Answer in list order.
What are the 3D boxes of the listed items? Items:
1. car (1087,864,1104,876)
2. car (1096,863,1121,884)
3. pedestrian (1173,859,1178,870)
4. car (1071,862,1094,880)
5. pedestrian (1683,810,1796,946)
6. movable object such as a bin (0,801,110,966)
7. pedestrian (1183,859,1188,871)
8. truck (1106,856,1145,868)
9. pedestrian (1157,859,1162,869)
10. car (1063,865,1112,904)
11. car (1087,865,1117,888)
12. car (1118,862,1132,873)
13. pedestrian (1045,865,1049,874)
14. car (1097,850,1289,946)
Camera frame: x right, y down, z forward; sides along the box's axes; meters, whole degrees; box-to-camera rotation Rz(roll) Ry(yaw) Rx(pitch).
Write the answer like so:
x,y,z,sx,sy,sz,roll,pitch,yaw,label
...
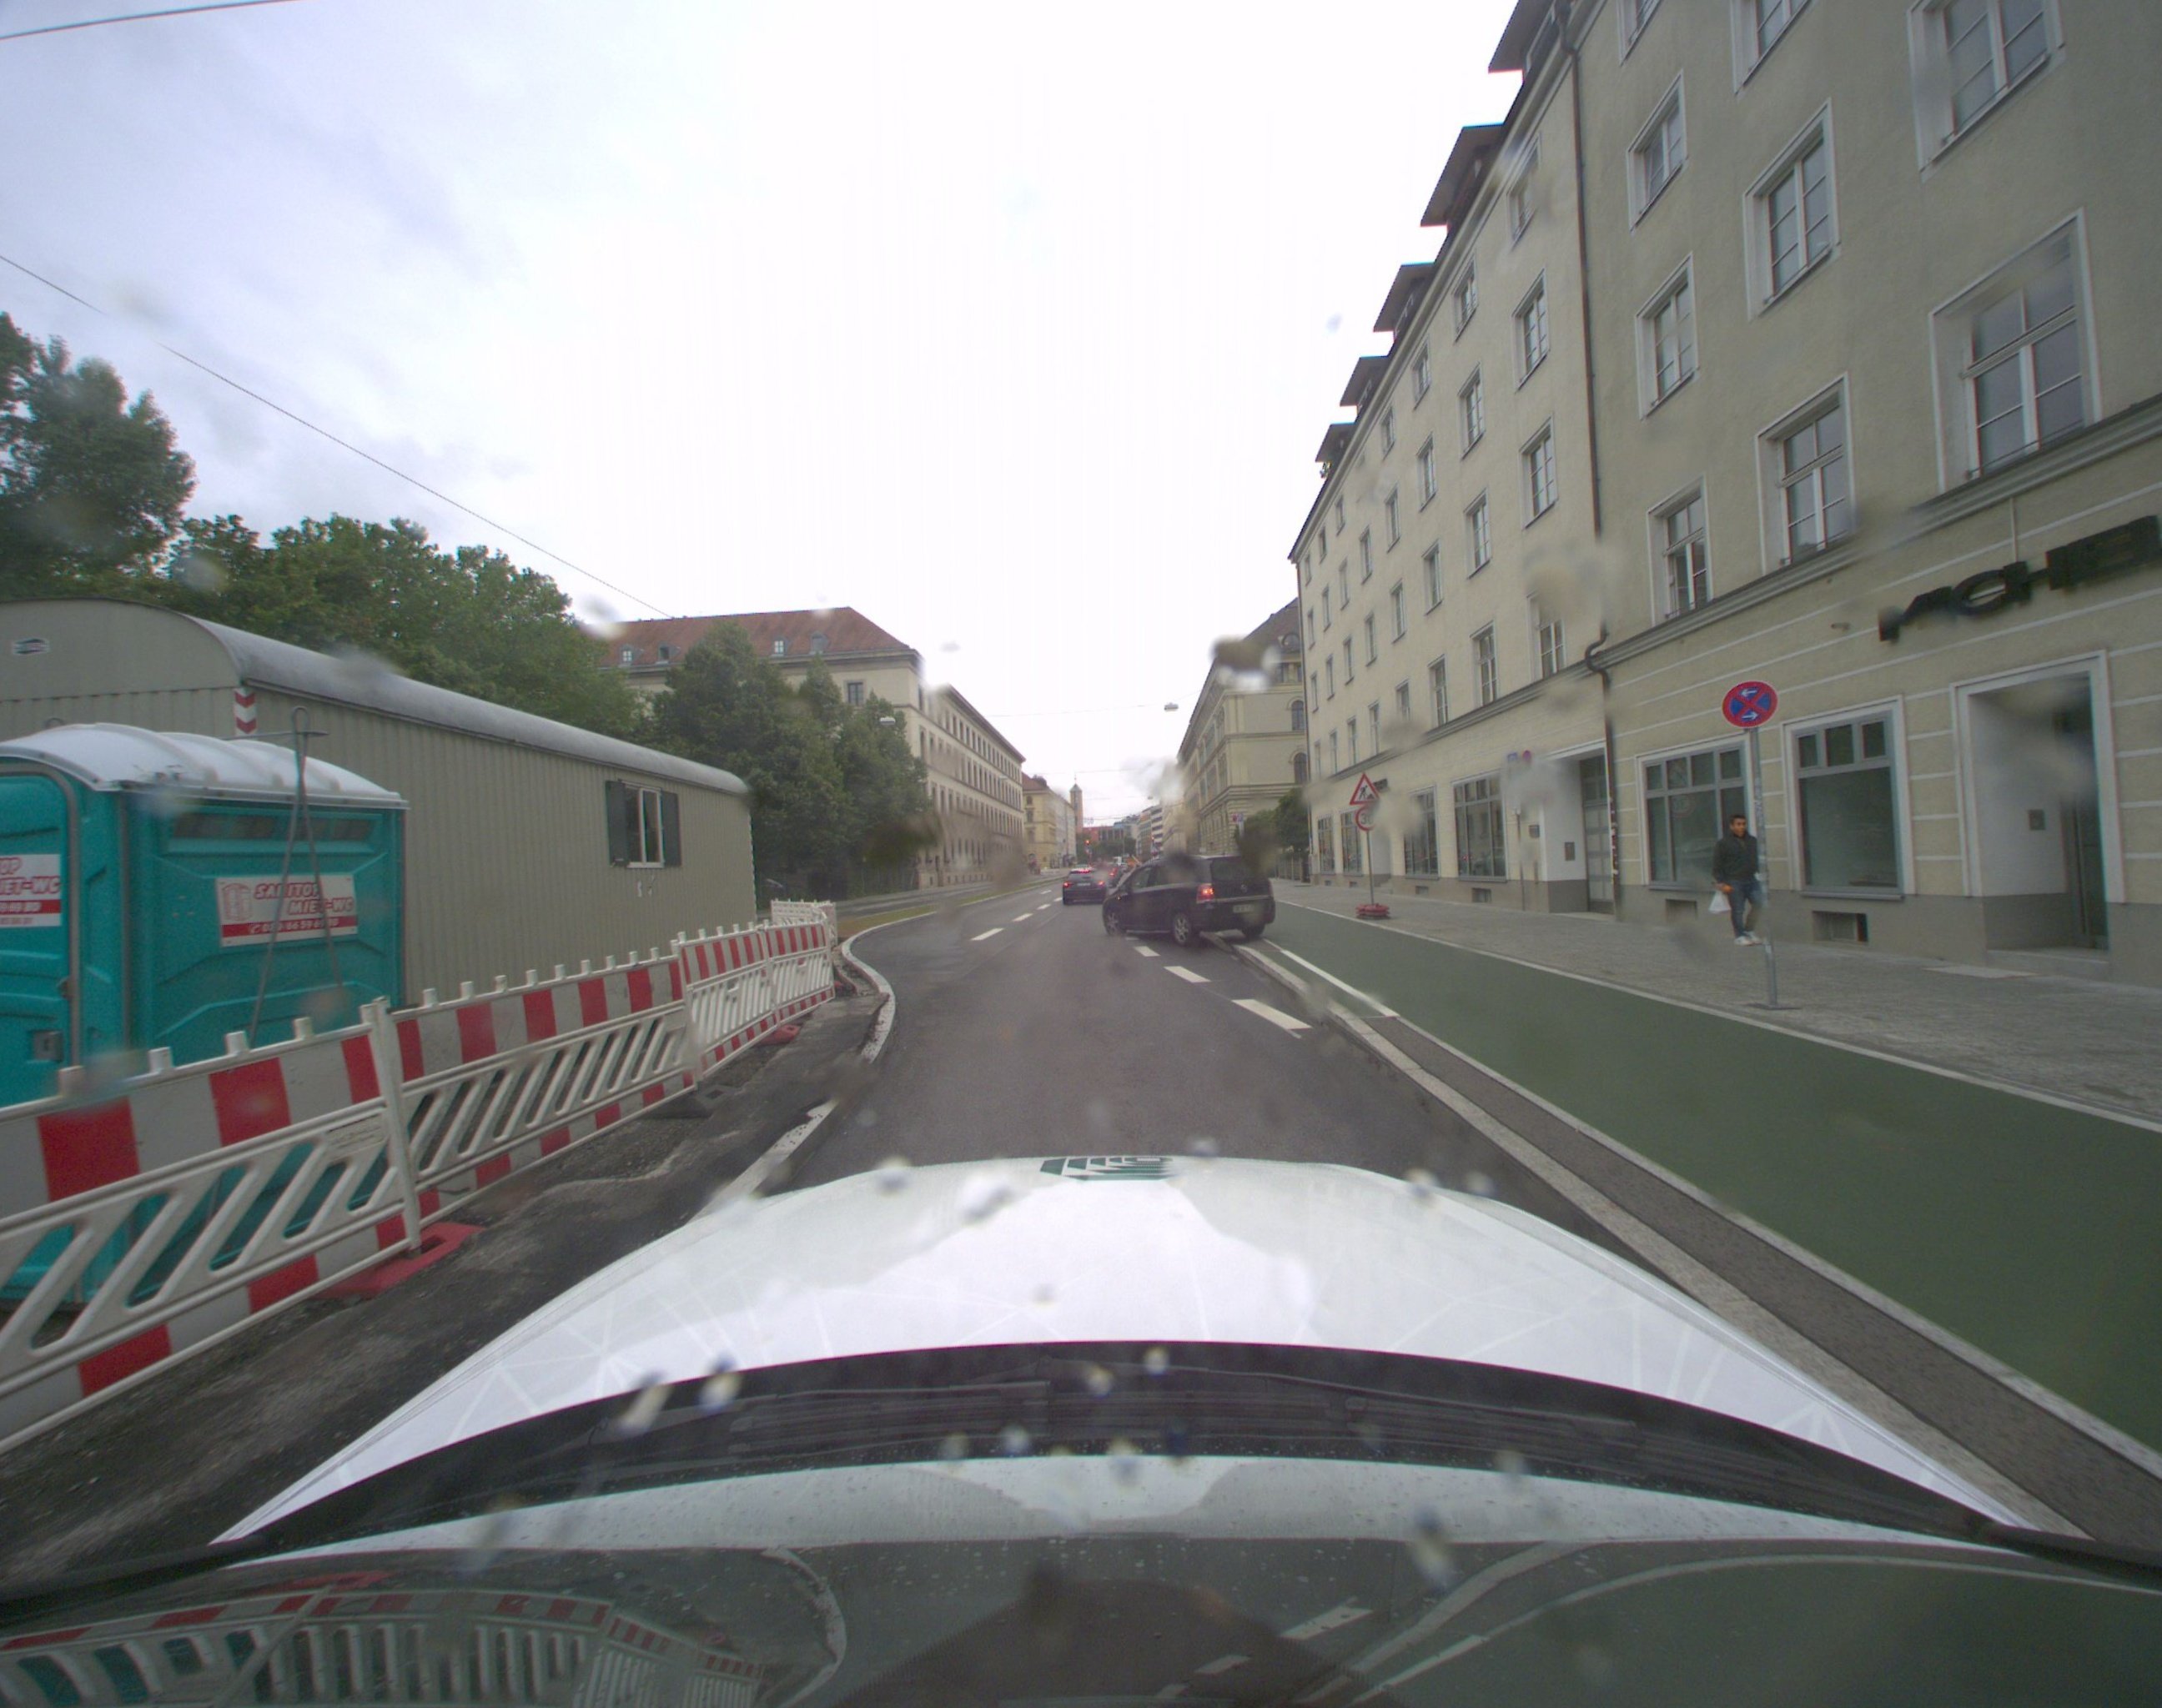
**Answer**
x,y,z,sx,sy,sz,roll,pitch,yaw,label
1.991,2.055,107.838,1.985,1.444,4.004,-3,-1,4,car
2.078,1.402,60.359,1.722,1.461,4.004,-1,-1,4,car
14.174,1.634,122.247,0.707,1.618,0.755,-3,-1,3,pedestrian
0.194,1.698,81.373,1.985,1.627,4.004,-3,-1,4,car
8.941,0.324,11.088,0.790,1.745,0.834,-3,-1,4,pedestrian
-27.230,0.763,19.179,2.455,3.962,5.069,-3,-1,2,movable object such as a bin
15.027,1.607,117.117,0.707,1.618,0.755,-3,-1,3,pedestrian
8.666,1.529,158.275,7.349,2.253,2.183,-1,-1,6,truck
13.521,1.760,140.157,0.747,1.618,0.714,-3,-1,12,pedestrian
0.311,1.179,32.839,1.722,1.403,4.004,-1,-1,4,car
1.401,1.419,52.143,1.722,1.403,4.004,-1,-1,4,car
6.592,1.964,121.212,1.985,1.444,4.004,-3,-1,4,car
-6.951,3.172,165.671,0.653,1.805,0.728,-3,-1,3,pedestrian
2.059,0.792,16.110,1.774,1.616,3.994,-1,-1,-27,car
